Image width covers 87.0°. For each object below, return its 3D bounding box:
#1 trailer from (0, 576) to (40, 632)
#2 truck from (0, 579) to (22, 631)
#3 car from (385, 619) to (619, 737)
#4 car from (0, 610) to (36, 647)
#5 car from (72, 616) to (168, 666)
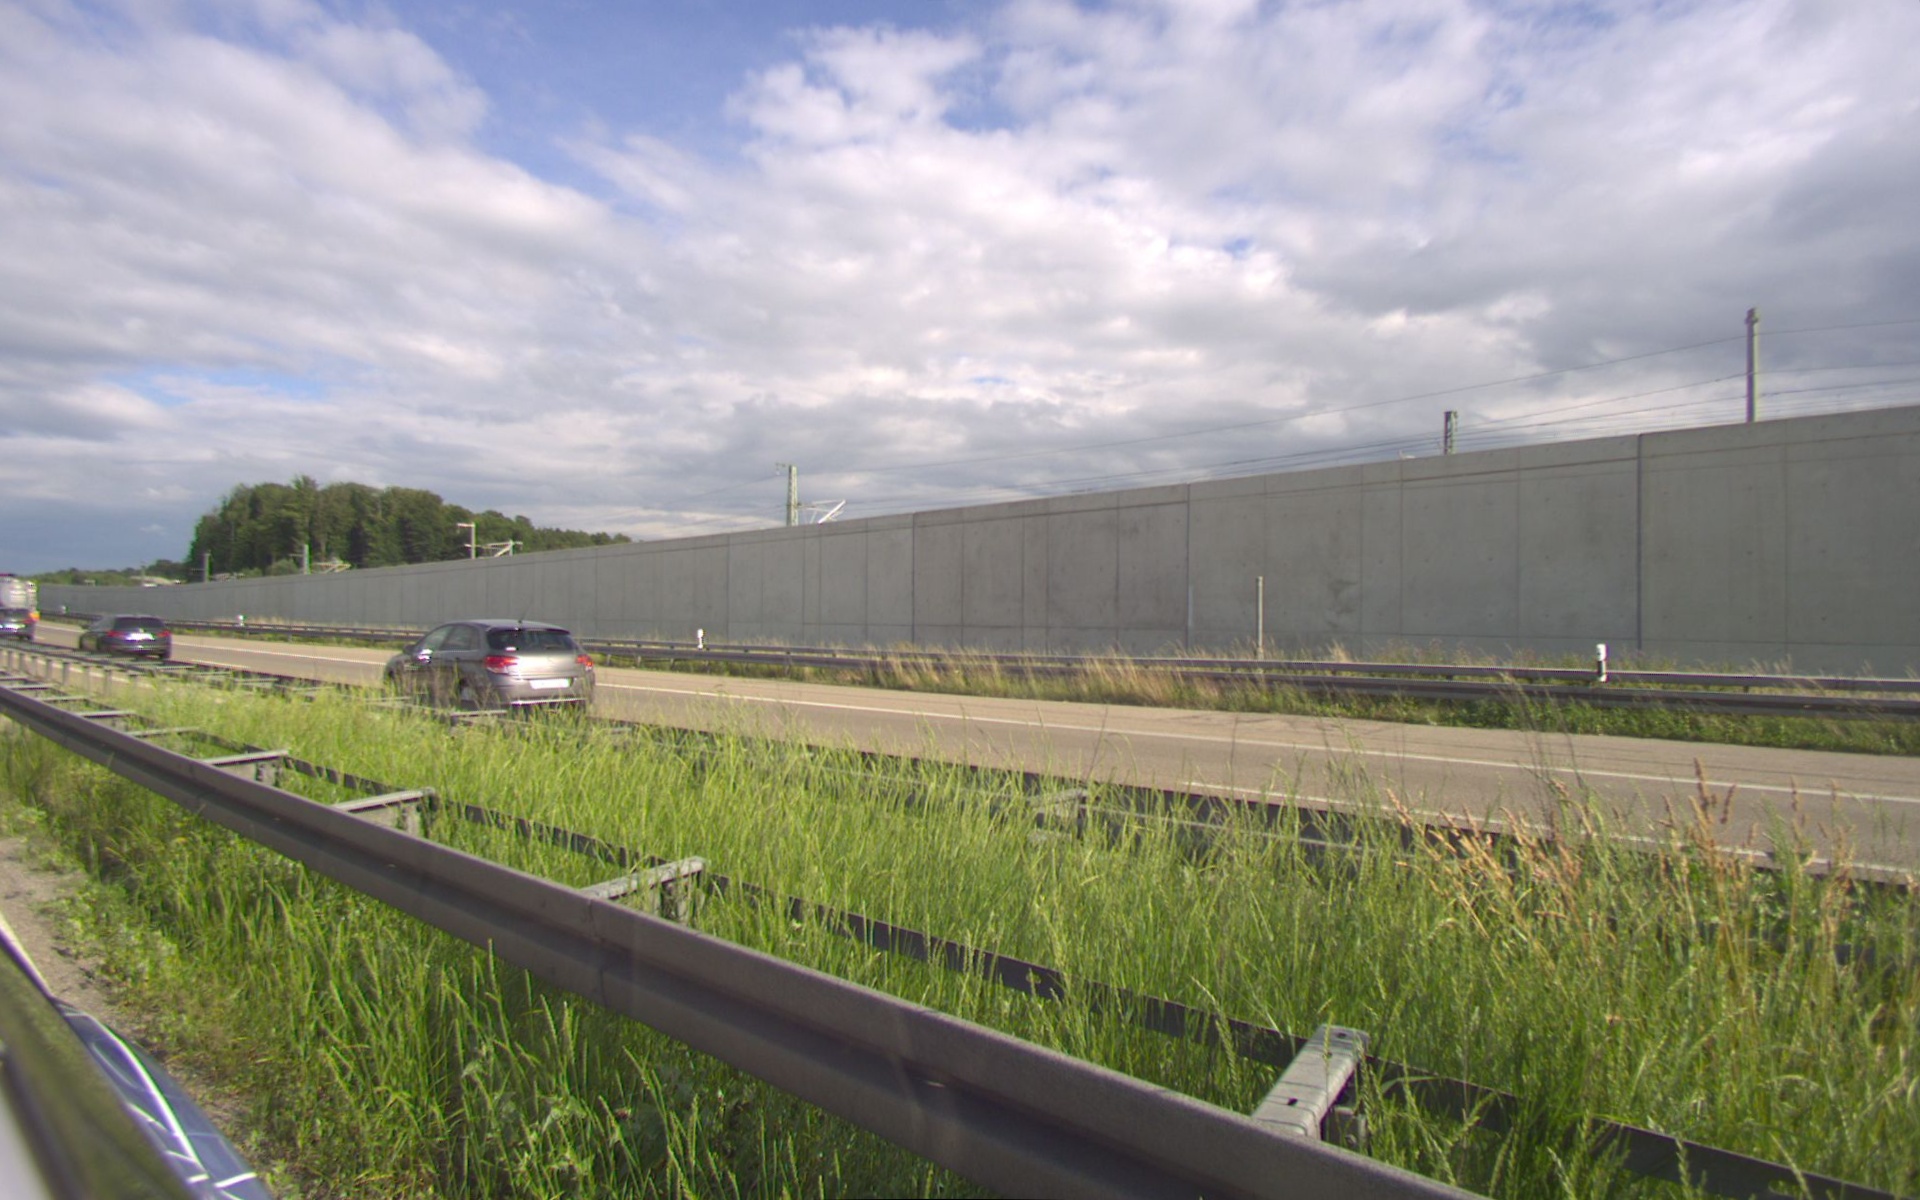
[{"bbox_3d":[-71.765,0.359,75.979,10.856,3.931,2.561,-1,-2,40],"label":"trailer"},{"bbox_3d":[-76.039,0.403,79.640,5.718,3.953,2.556,-1,-2,41],"label":"truck"},{"bbox_3d":[-6.859,1.045,14.997,3.827,1.490,1.750,-1,-1,41],"label":"car"},{"bbox_3d":[-46.517,1.354,49.289,4.100,1.750,1.762,-1,-1,41],"label":"car"},{"bbox_3d":[-27.636,1.294,33.236,4.423,1.510,1.680,-1,-1,40],"label":"car"}]
